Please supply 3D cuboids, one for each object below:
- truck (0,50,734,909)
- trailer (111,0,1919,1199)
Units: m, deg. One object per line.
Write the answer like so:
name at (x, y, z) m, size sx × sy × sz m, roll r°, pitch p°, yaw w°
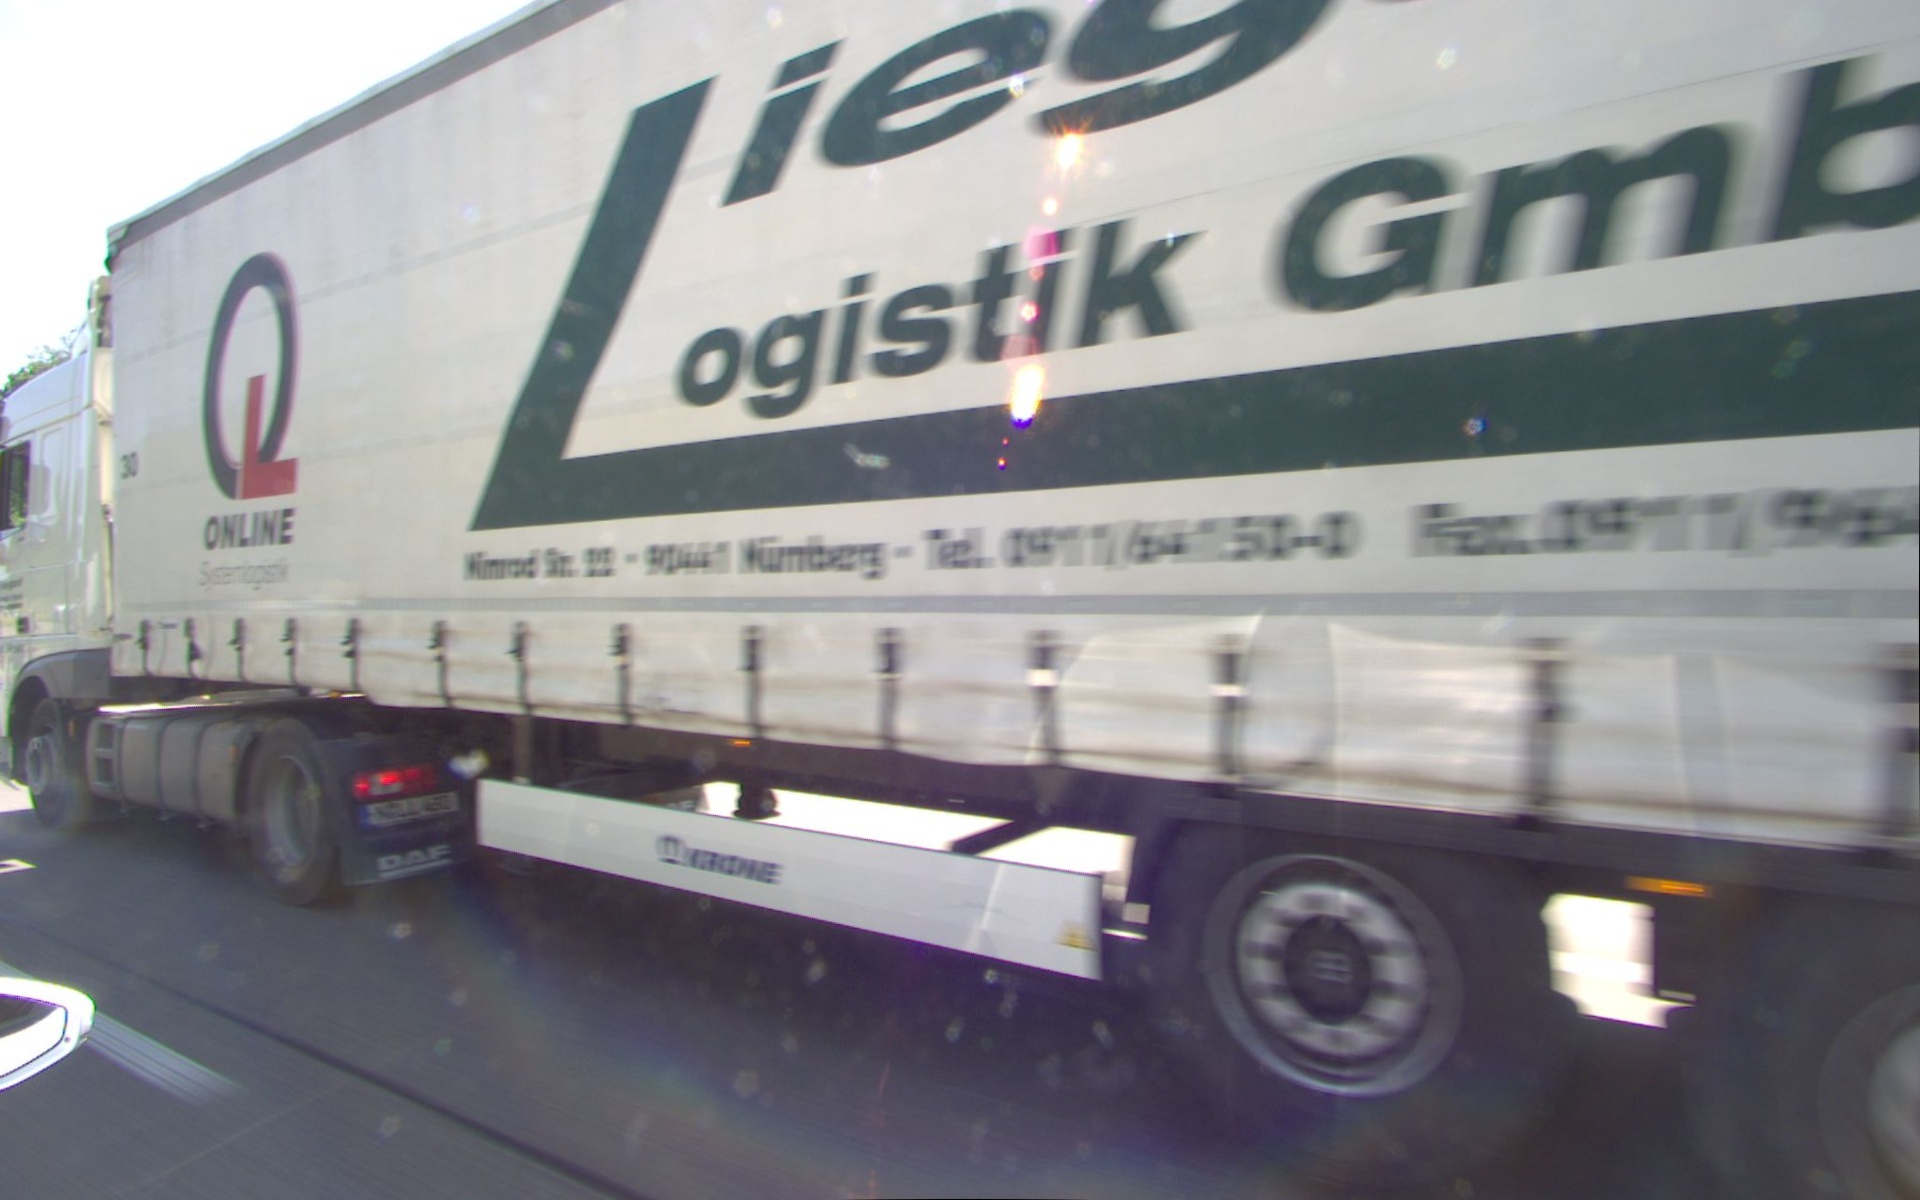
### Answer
truck at (-4.859, -0.567, 7.719) m, size 5.786 × 4.259 × 2.781 m, roll 0°, pitch -1°, yaw 33°
trailer at (0.756, -0.651, 4.087) m, size 13.055 × 4.259 × 2.781 m, roll 0°, pitch -1°, yaw 33°
